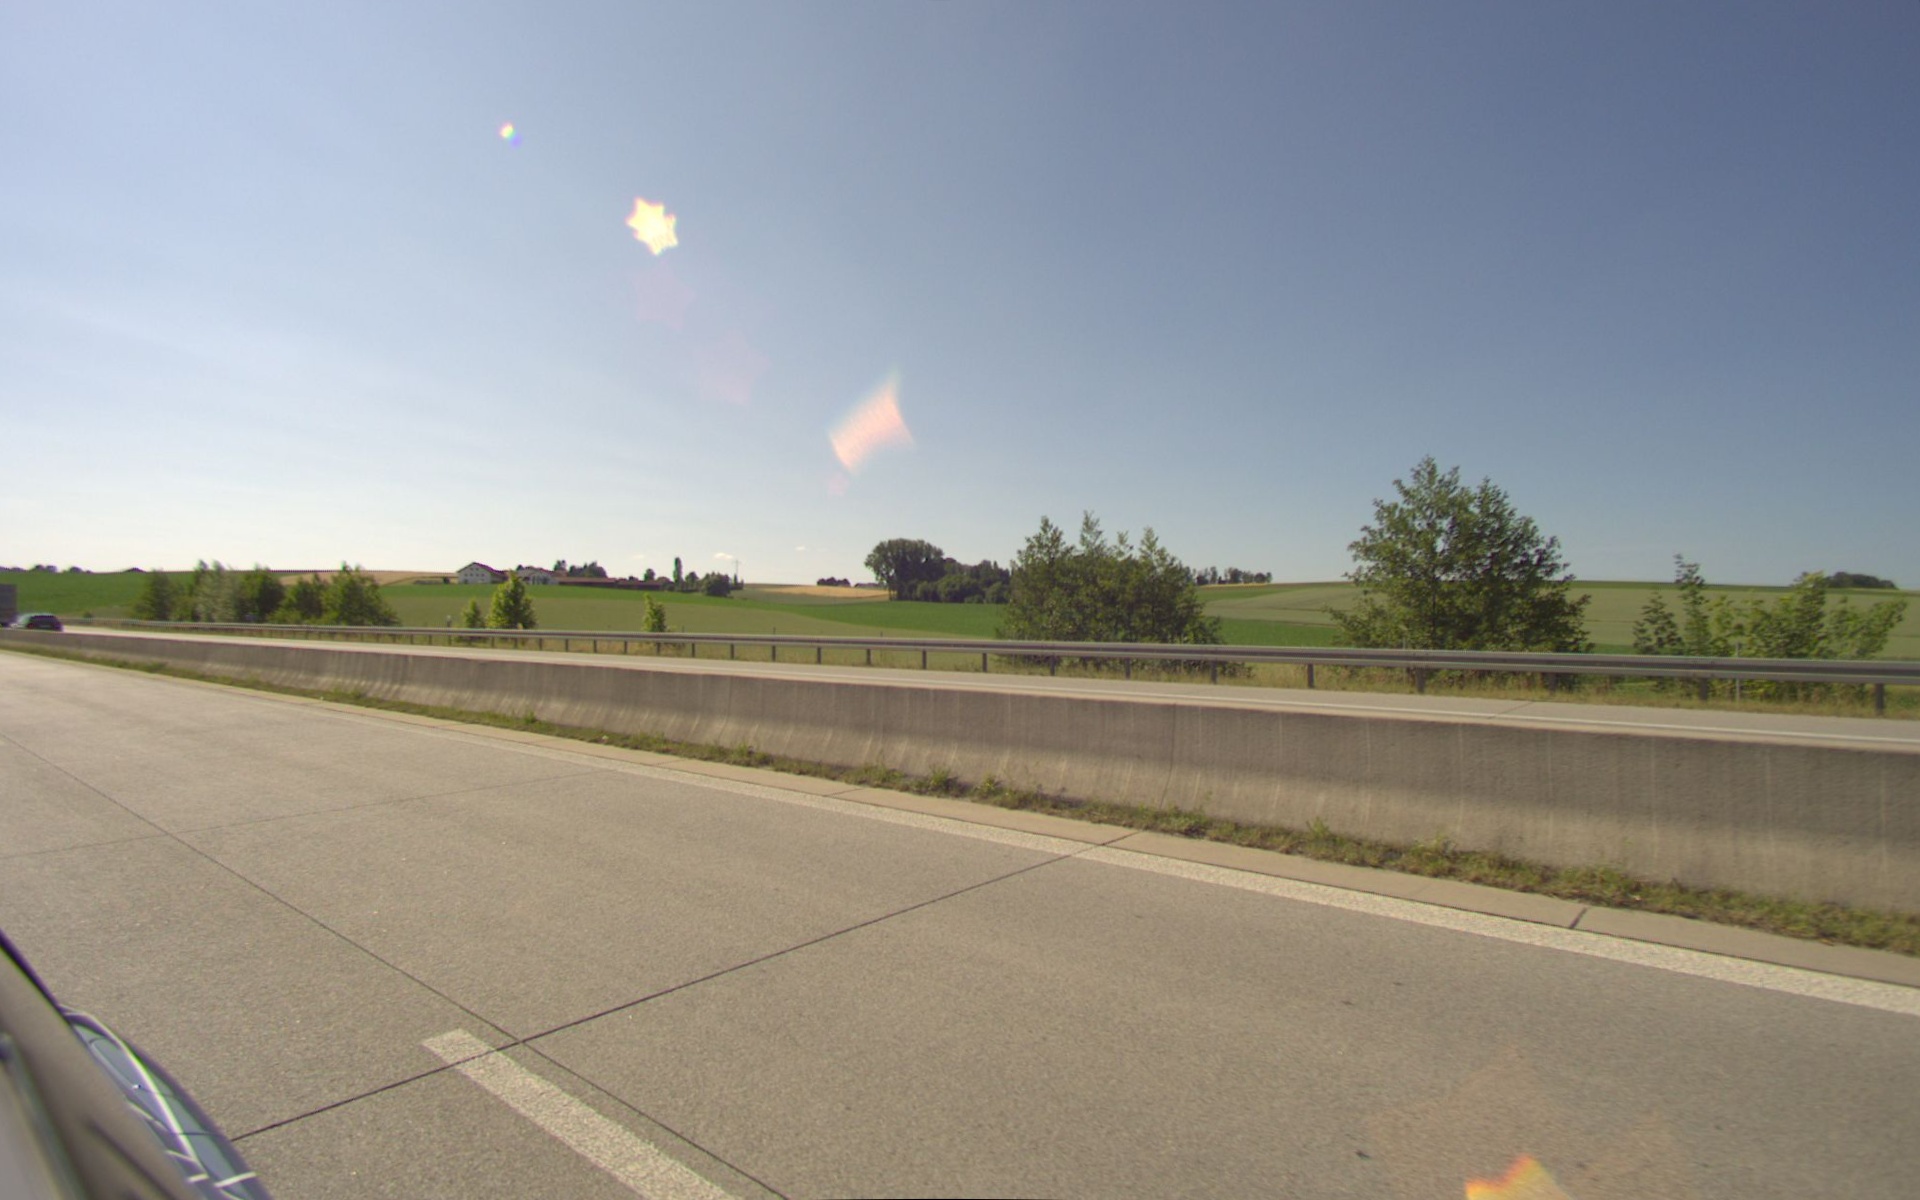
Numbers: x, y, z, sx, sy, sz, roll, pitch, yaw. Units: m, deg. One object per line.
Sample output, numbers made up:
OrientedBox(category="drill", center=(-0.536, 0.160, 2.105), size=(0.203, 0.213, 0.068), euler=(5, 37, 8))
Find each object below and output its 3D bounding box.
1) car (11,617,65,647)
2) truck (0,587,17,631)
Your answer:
OrientedBox(category="car", center=(-53.667, 1.843, 58.891), size=(4.623, 1.601, 1.694), euler=(0, 1, 40))
OrientedBox(category="truck", center=(-94.269, 0.901, 97.796), size=(13.855, 4.038, 2.831), euler=(-1, -1, 40))
